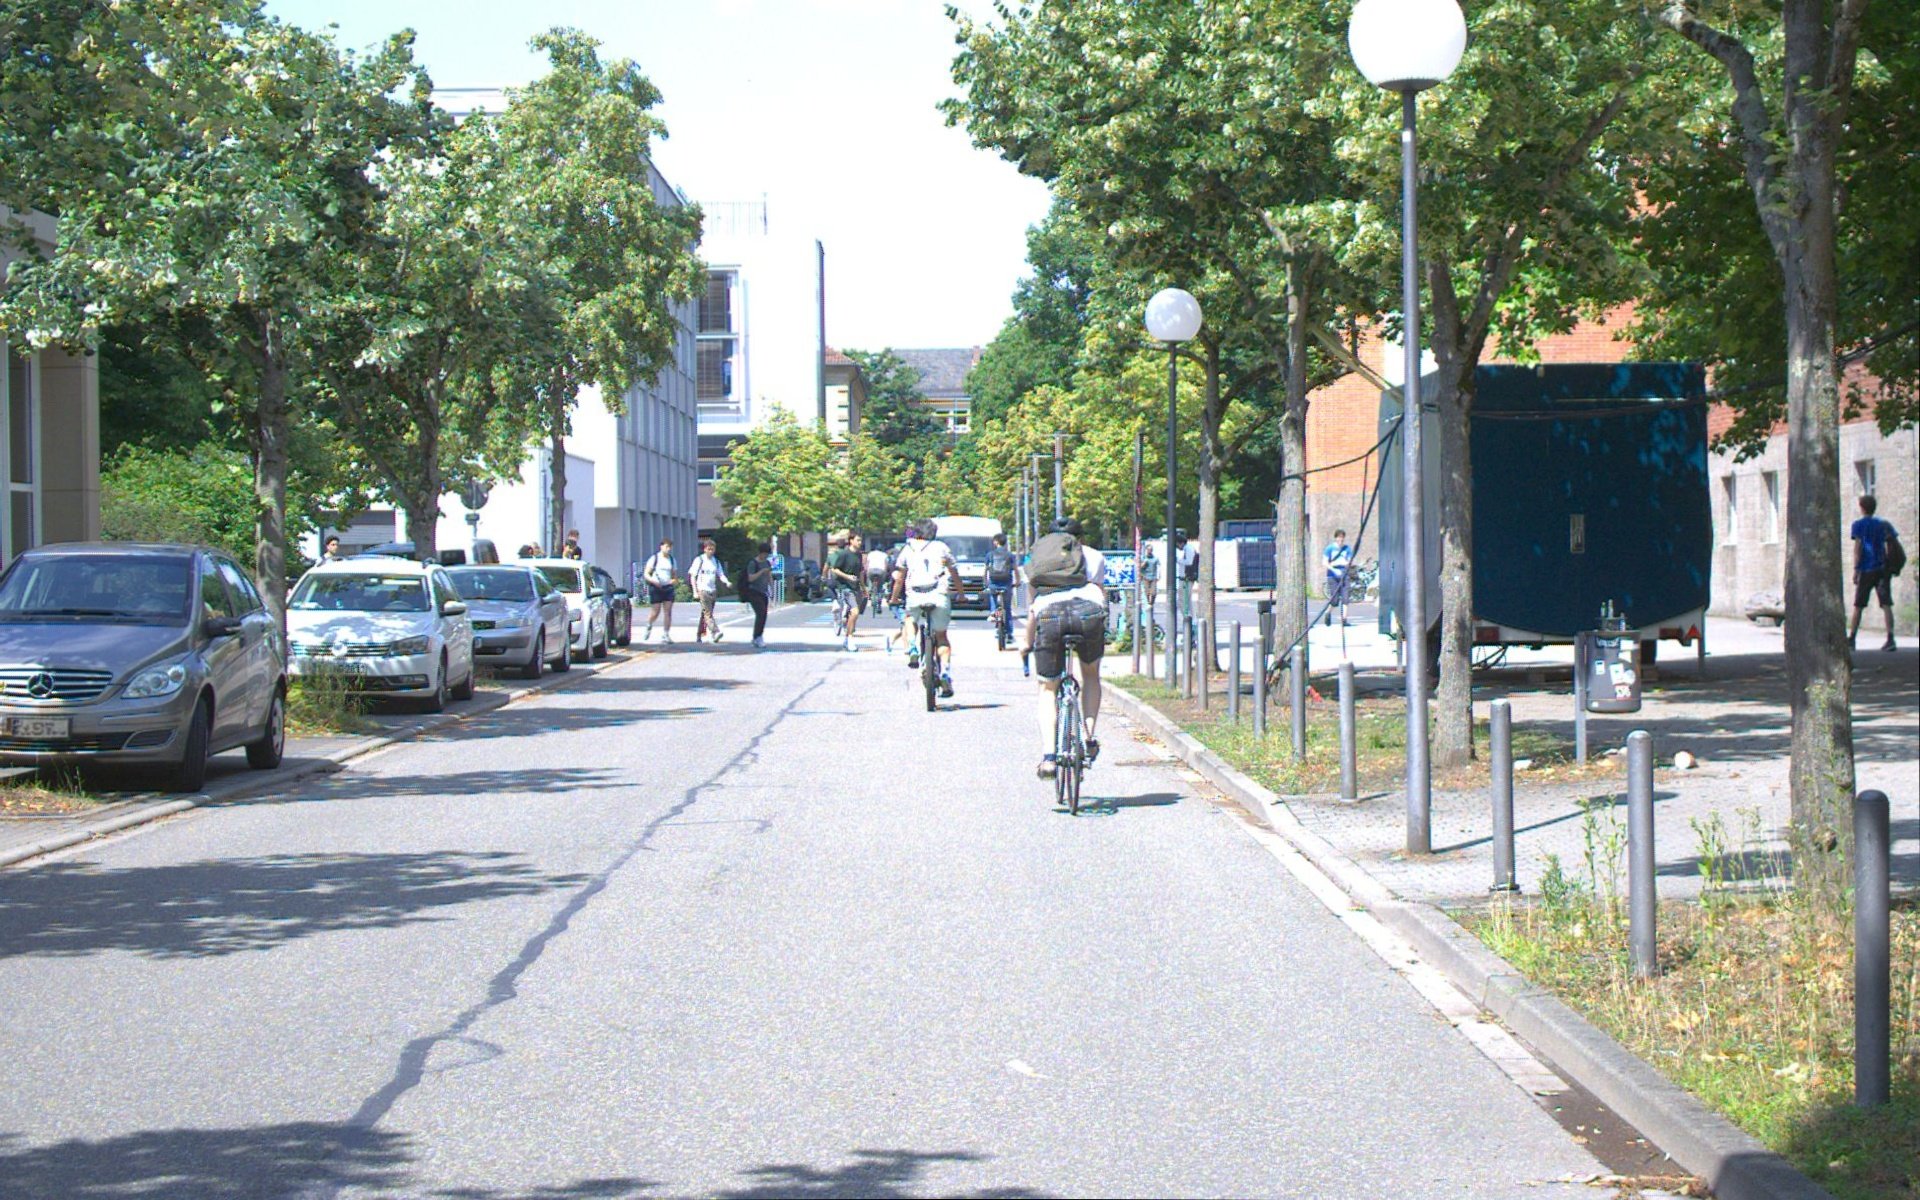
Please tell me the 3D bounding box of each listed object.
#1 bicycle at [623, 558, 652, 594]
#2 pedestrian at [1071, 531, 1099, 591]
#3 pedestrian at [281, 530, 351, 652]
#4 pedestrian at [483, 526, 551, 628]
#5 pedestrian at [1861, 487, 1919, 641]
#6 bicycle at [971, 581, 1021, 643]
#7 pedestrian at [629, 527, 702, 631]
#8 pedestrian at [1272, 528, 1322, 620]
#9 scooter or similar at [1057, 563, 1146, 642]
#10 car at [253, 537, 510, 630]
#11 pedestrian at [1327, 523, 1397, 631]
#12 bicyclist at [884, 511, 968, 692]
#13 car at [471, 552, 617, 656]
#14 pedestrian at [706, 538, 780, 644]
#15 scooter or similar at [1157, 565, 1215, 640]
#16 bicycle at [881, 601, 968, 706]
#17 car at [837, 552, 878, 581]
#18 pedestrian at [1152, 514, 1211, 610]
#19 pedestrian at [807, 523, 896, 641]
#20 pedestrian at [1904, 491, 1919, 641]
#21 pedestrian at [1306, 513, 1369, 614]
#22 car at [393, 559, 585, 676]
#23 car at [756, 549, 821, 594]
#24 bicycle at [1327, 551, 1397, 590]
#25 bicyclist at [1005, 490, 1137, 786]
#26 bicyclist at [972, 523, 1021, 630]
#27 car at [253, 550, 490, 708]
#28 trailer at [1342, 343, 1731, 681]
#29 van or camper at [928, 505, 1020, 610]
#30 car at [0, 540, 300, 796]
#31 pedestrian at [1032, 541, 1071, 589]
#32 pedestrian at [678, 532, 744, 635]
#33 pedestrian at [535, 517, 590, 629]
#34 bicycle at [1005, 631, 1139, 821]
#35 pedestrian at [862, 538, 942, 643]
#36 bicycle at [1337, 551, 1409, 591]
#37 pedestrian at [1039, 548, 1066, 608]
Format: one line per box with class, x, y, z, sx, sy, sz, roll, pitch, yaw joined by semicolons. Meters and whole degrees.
bicycle;-9.267;-0.692;98.736;0.523;0.981;1.632;-2;1;4
pedestrian;3.874;-1.212;106.695;0.790;1.853;1.026;-2;1;1
pedestrian;-9.277;-0.140;49.553;0.708;1.710;1.109;2;1;3
pedestrian;-7.870;-0.417;61.093;0.802;1.766;0.853;4;3;25
pedestrian;11.131;-0.435;40.973;0.595;1.790;0.407;-3;3;-3
bicycle;0.597;0.191;56.504;0.808;0.999;2.124;0;0;1
pedestrian;-4.971;-0.357;58.044;0.983;1.733;0.699;1;0;39
pedestrian;6.193;-0.479;63.171;0.501;1.624;0.571;-8;4;-29
scooter or similar;2.284;0.043;55.657;1.263;1.260;0.649;-1;1;32
car;-11.093;-0.316;66.110;4.506;1.613;1.924;2;0;3
pedestrian;6.396;-0.376;54.737;0.875;1.632;0.949;-5;1;1
bicyclist;-0.331;0.010;33.947;0.771;1.750;0.848;1;1;1
car;-5.911;0.026;49.196;1.662;1.407;3.807;0;1;0
pedestrian;-3.577;-0.144;56.715;0.992;1.714;0.702;0;-2;24
scooter or similar;3.615;0.033;54.923;0.649;1.156;1.264;-1;1;15
bicycle;-0.340;0.515;33.913;0.808;0.999;2.124;0;0;1
car;-5.568;-1.814;187.257;1.796;1.525;4.000;-1;1;4
pedestrian;4.078;-0.706;63.300;0.959;1.688;0.704;3;3;10
pedestrian;-1.748;-0.296;55.375;1.115;1.853;0.852;1;3;44
pedestrian;11.809;-0.415;41.376;0.595;1.790;0.728;-3;2;-3
pedestrian;6.983;-0.682;63.629;0.708;1.781;0.753;-8;6;-29
car;-5.847;0.180;43.059;1.725;1.339;4.165;1;1;1
car;-5.995;-1.016;120.796;1.796;1.525;4.000;-1;1;4
bicycle;10.967;-0.810;93.823;1.809;0.981;0.560;-2;1;0
bicyclist;0.643;0.208;19.936;0.717;1.656;1.095;1;1;2
bicyclist;0.601;-0.380;56.589;0.808;1.750;0.692;0;0;1
car;-5.818;0.250;34.464;1.725;1.451;4.584;1;1;-2
trailer;5.703;-0.861;35.064;2.691;3.041;6.258;-2;1;-1
van or camper;0.363;-1.014;83.815;1.994;2.437;4.569;-1;0;3
car;-5.666;0.390;23.169;1.757;1.551;4.114;1;1;-2
pedestrian;3.976;-1.523;149.977;1.499;1.989;1.646;-4;2;-2
pedestrian;-4.247;-0.290;58.672;0.908;1.733;0.677;1;1;38
pedestrian;-7.087;-0.476;61.270;0.616;1.973;0.829;-2;-1;-31
bicycle;0.644;0.699;19.854;0.706;0.990;1.910;-2;0;2
pedestrian;-0.900;-0.148;53.096;0.848;1.589;0.830;-3;2;-43
bicycle;11.082;-0.785;92.289;1.809;0.981;0.560;-2;1;0
pedestrian;2.911;-0.697;108.193;0.790;1.853;1.026;-1;1;1
